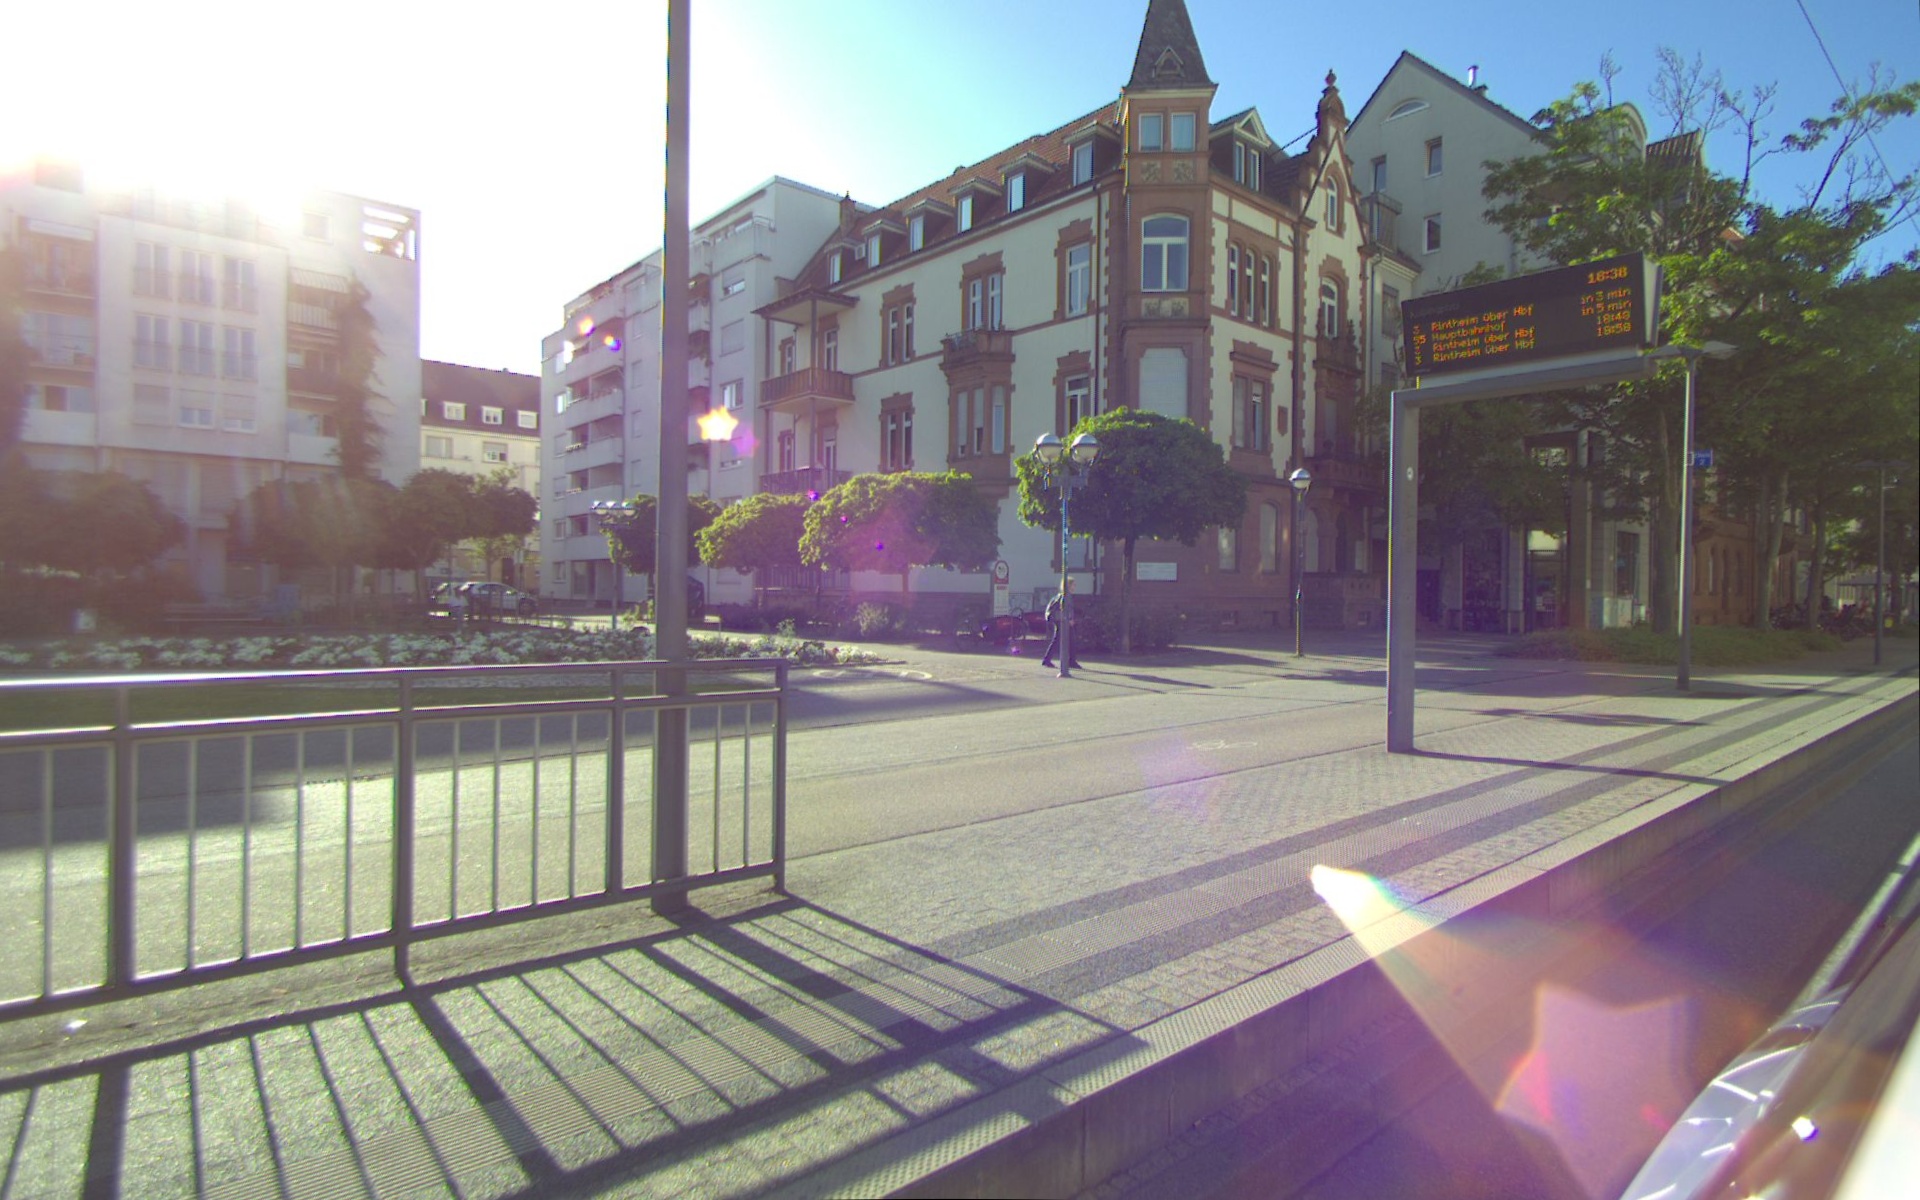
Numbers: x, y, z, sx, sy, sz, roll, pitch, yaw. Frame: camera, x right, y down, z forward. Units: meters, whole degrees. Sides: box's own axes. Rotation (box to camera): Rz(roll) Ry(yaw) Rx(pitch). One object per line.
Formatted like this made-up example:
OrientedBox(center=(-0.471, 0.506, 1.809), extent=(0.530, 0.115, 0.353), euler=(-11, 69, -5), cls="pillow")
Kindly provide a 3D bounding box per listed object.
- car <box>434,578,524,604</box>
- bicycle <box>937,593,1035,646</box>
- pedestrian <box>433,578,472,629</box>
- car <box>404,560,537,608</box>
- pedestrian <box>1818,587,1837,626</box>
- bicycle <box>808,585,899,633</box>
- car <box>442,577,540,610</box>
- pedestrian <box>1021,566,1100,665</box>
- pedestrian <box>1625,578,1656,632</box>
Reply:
OrientedBox(center=(-24.863, -0.467, 52.337), extent=(3.923, 1.304, 2.001), euler=(0, 1, -34), cls="car")
OrientedBox(center=(0.660, 0.432, 24.095), extent=(0.786, 1.081, 2.767), euler=(1, 2, 40), cls="bicycle")
OrientedBox(center=(-14.715, 0.088, 29.327), extent=(0.917, 1.429, 1.529), euler=(0, 1, -30), cls="pedestrian")
OrientedBox(center=(-27.823, -0.899, 57.706), extent=(2.806, 2.587, 6.294), euler=(1, 1, 44), cls="car")
OrientedBox(center=(45.969, 0.353, 53.610), extent=(0.549, 2.039, 0.654), euler=(0, 0, -38), cls="pedestrian")
OrientedBox(center=(-3.232, 0.256, 30.916), extent=(2.864, 1.389, 0.745), euler=(0, 1, -41), cls="bicycle")
OrientedBox(center=(-22.246, -0.317, 48.036), extent=(3.923, 1.536, 2.001), euler=(0, 1, -34), cls="car")
OrientedBox(center=(1.783, 0.248, 17.976), extent=(1.064, 1.689, 0.944), euler=(1, 0, 37), cls="pedestrian")
OrientedBox(center=(22.575, 0.164, 33.565), extent=(0.740, 1.757, 0.864), euler=(1, 0, 43), cls="pedestrian")
